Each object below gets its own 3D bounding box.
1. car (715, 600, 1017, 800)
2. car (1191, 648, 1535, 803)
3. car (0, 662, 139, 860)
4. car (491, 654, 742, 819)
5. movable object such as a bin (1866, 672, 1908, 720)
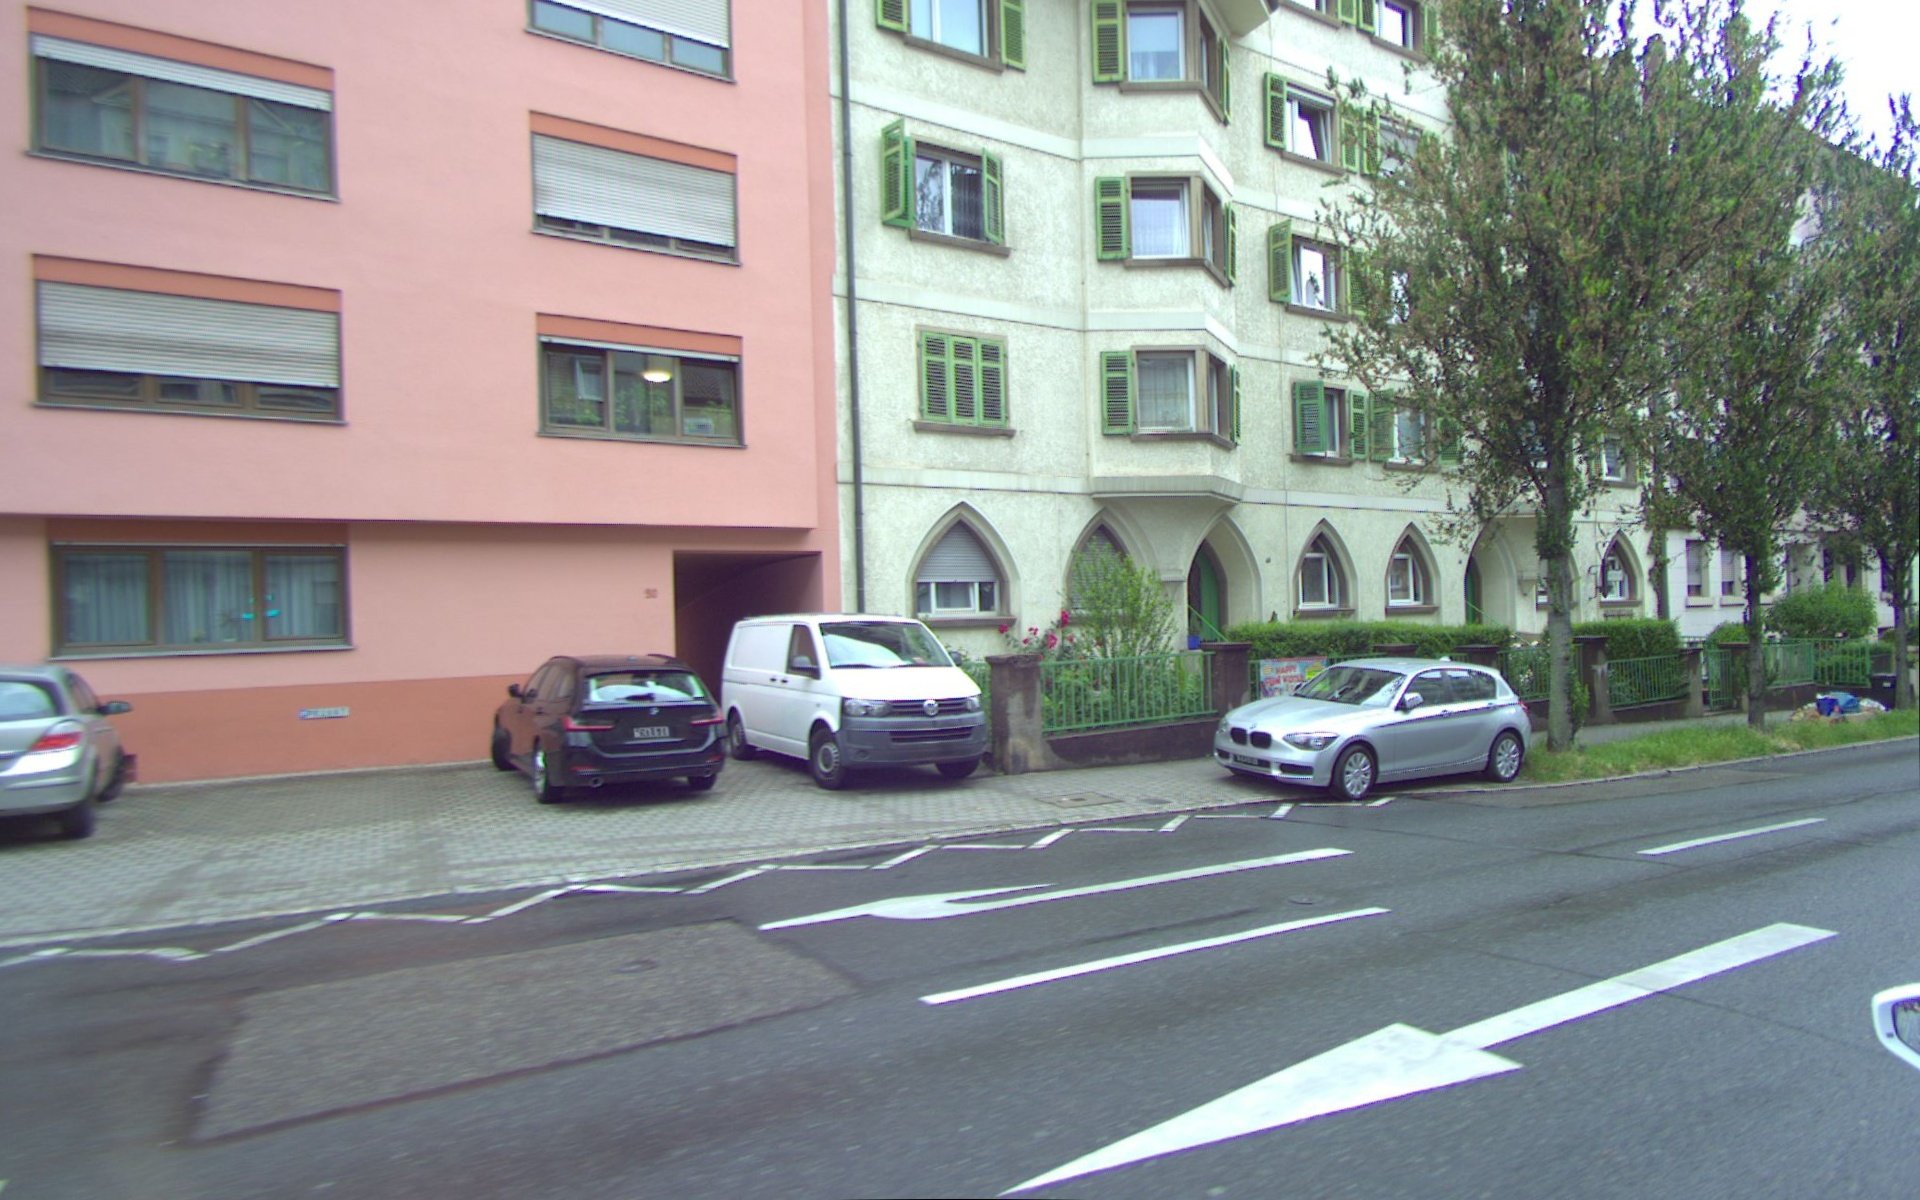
[{"bbox_3d":[-1.424,1.127,12.670,2.023,1.999,4.808,1,-3,-29],"label":"car"},{"bbox_3d":[4.836,1.368,11.963,3.941,1.503,1.718,2,0,-30],"label":"car"},{"bbox_3d":[-8.641,1.311,9.004,1.776,1.476,3.854,2,-4,-37],"label":"car"},{"bbox_3d":[-4.092,1.360,11.470,1.772,1.470,4.409,1,-3,-32],"label":"car"},{"bbox_3d":[18.712,1.924,20.277,0.636,0.924,0.569,2,-4,-44],"label":"movable object such as a bin"}]
